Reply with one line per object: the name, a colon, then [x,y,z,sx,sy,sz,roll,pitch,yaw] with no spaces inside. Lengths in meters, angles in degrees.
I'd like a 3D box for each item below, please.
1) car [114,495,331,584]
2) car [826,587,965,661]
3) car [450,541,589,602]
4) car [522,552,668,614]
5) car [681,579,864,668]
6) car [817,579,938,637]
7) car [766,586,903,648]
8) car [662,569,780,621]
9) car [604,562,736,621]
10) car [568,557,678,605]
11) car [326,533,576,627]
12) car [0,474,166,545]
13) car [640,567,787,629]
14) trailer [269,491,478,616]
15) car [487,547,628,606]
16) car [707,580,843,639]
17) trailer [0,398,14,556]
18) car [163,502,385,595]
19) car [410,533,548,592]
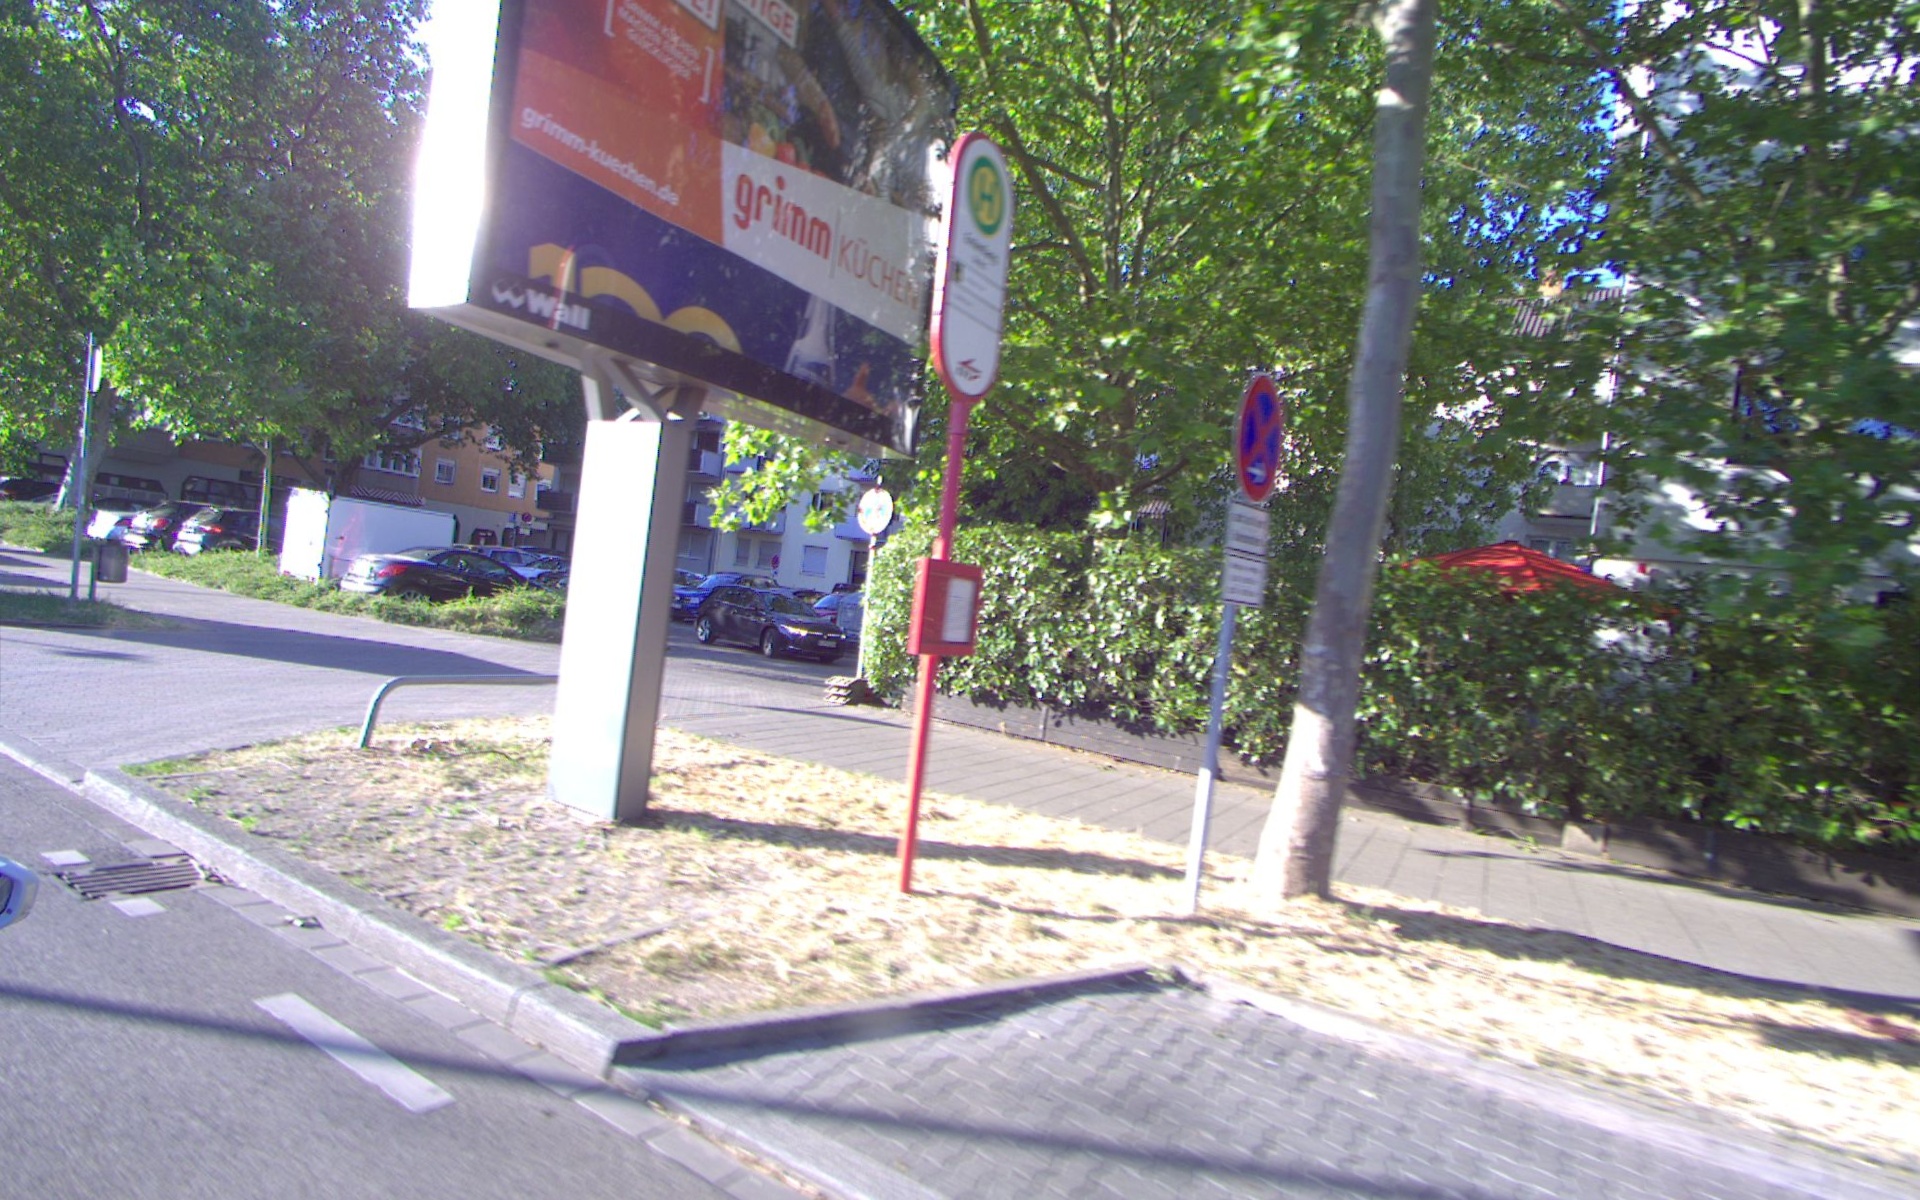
car: [-18.193,-1.442,24.990,1.678,1.657,3.924,7,0,32]
car: [-1.686,0.680,27.416,1.678,1.699,3.922,7,2,32]
car: [-16.089,-1.019,36.957,1.841,1.662,4.282,7,0,32]
car: [-12.115,-0.529,33.684,1.842,1.663,4.278,7,1,32]
car: [-4.310,0.495,22.760,4.181,1.454,1.787,7,0,42]
car: [-2.748,0.320,34.539,1.842,1.663,4.278,7,1,32]
car: [-3.516,0.527,28.778,1.678,1.506,3.922,7,1,32]
car: [-9.197,-0.171,39.006,1.842,1.663,4.278,7,1,32]
car: [-9.493,-0.243,33.223,1.800,1.575,3.896,7,1,32]
car: [-14.719,-0.800,44.091,1.842,1.663,4.278,7,1,32]
car: [-9.721,-0.327,19.494,1.679,1.352,3.923,7,0,33]
car: [-27.416,-2.779,31.224,1.678,1.608,3.924,7,0,32]
car: [-7.701,-0.013,31.783,1.992,1.608,4.280,7,1,31]
trailer: [-12.006,-0.913,20.739,1.848,2.095,3.067,7,0,33]
car: [-14.153,-0.785,35.606,1.842,1.663,4.278,7,1,32]
car: [-5.448,0.332,30.065,1.678,1.454,3.922,7,2,32]
trailer: [-13.751,-1.413,12.634,3.264,2.590,1.834,7,1,32]
car: [-16.160,-1.165,23.889,1.678,1.656,3.924,7,0,32]
car: [-18.120,-1.377,38.105,1.841,1.662,4.282,7,0,32]
